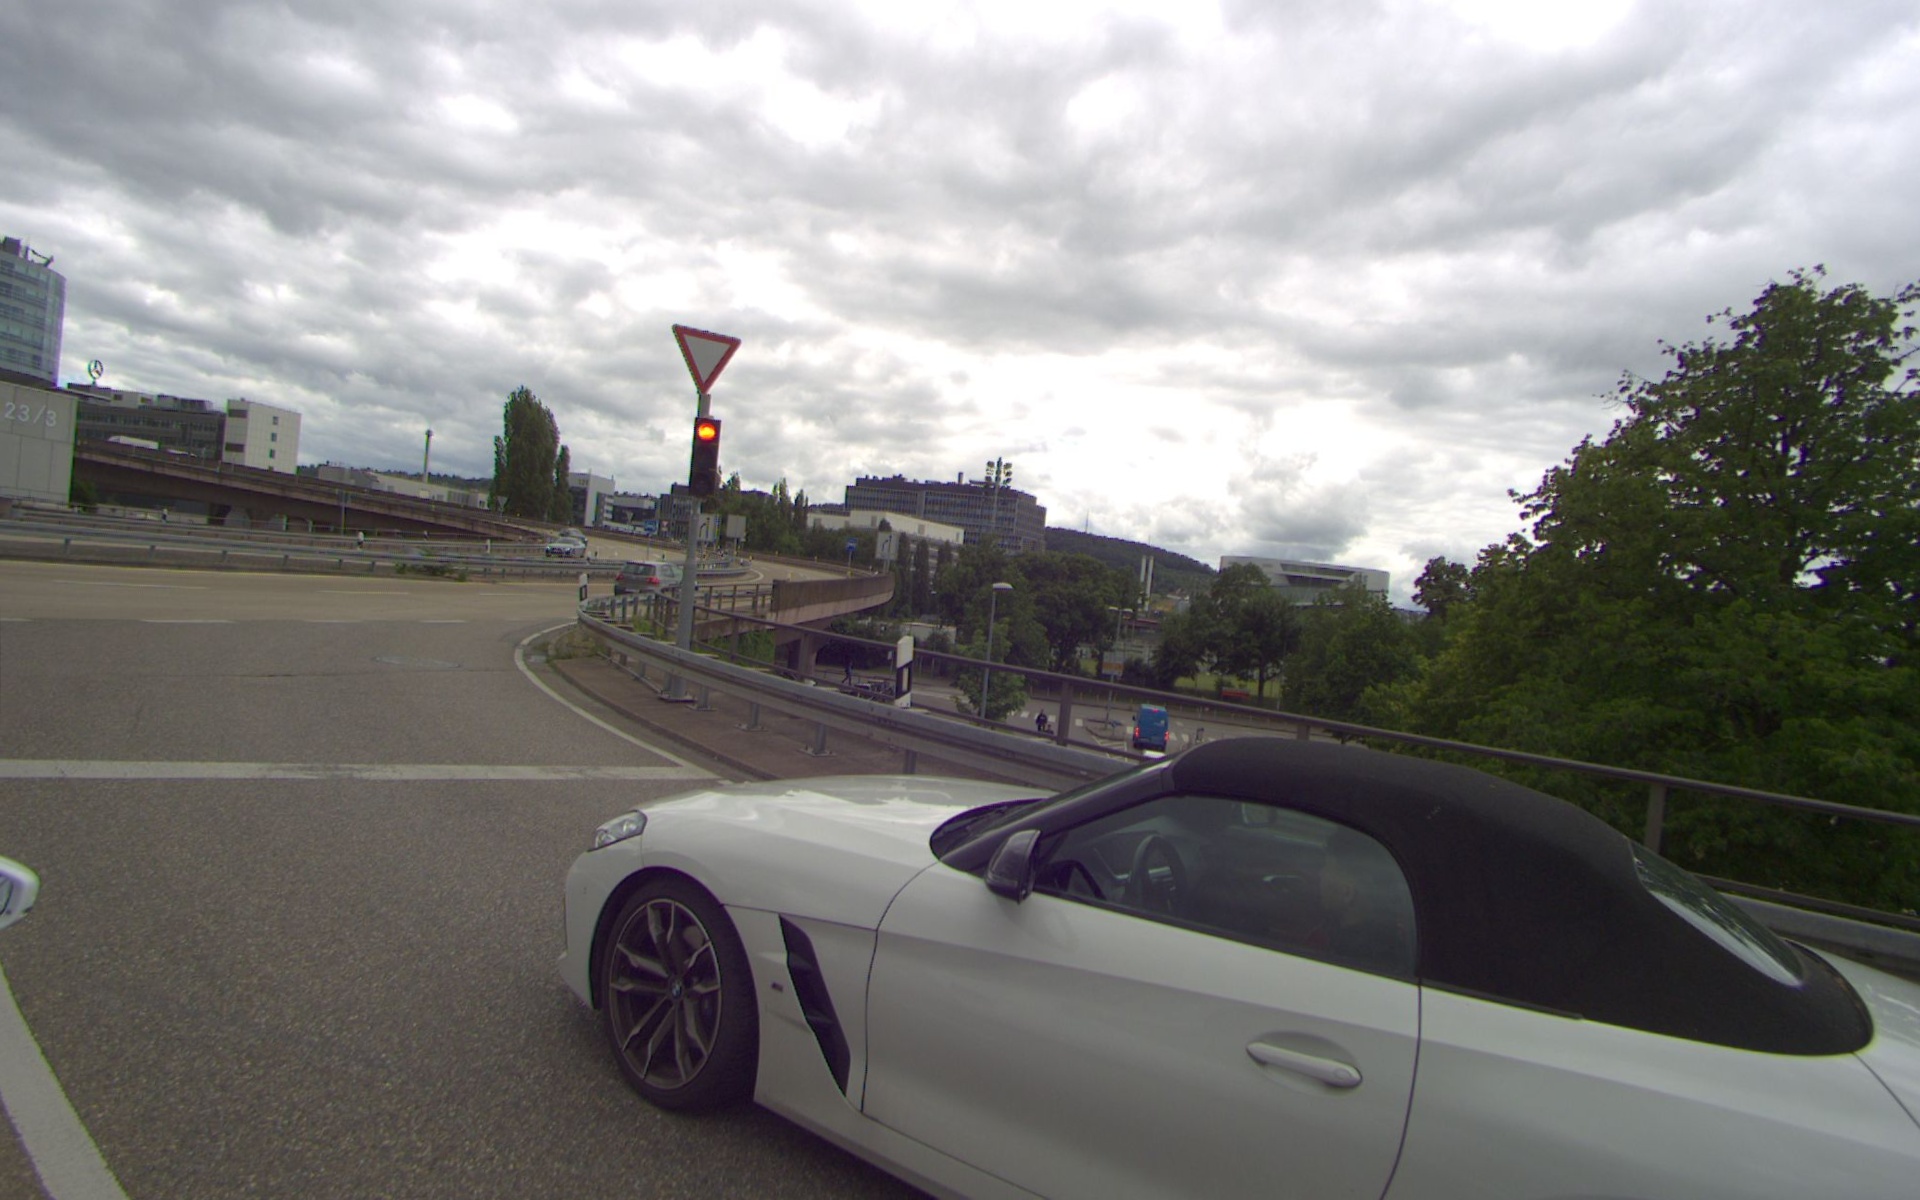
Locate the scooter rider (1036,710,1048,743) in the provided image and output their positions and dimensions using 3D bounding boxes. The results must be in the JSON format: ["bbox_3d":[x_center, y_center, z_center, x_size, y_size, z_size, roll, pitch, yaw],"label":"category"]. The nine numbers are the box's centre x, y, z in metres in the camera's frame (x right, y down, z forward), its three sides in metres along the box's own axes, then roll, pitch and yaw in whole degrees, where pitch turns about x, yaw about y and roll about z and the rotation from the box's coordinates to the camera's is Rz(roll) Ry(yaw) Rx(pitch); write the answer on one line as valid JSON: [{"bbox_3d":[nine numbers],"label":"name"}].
[{"bbox_3d":[4.737,7.295,58.028,0.482,1.761,0.514,8,2,5],"label":"scooter rider"}]

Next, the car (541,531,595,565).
[{"bbox_3d":[-28.701,-3.800,73.791,1.881,1.679,4.753,9,-4,0],"label":"car"}]

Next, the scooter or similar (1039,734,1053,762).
[{"bbox_3d":[4.424,7.605,51.744,0.481,1.199,1.073,8,1,10],"label":"scooter or similar"}]

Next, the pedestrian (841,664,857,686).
[{"bbox_3d":[-8.535,5.783,77.325,0.898,1.514,0.750,9,-3,6],"label":"pedestrian"}]

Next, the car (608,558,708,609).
[{"bbox_3d":[-10.656,-0.538,35.802,1.697,1.480,4.245,7,0,7],"label":"car"}]

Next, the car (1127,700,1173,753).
[{"bbox_3d":[11.883,7.903,63.190,1.978,2.617,5.398,10,-2,7],"label":"car"}]

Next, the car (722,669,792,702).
[{"bbox_3d":[-12.450,5.265,61.901,3.792,1.371,1.826,8,1,1],"label":"car"}]

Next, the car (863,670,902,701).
[{"bbox_3d":[-5.258,5.828,68.640,1.792,1.553,4.000,8,0,6],"label":"car"}]

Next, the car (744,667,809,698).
[{"bbox_3d":[-12.064,5.431,66.361,3.792,1.371,1.826,8,1,1],"label":"car"}]

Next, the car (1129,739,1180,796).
[{"bbox_3d":[9.261,7.872,47.710,1.978,1.883,4.868,10,-2,13],"label":"car"}]

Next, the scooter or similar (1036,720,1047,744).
[{"bbox_3d":[4.712,7.594,58.022,0.482,1.199,1.073,8,1,5],"label":"scooter or similar"}]

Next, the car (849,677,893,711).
[{"bbox_3d":[-5.521,5.832,63.018,1.792,1.553,4.195,8,0,6],"label":"car"}]

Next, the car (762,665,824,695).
[{"bbox_3d":[-11.456,5.486,69.140,3.792,1.371,1.826,8,1,1],"label":"car"}]

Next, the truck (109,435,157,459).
[{"bbox_3d":[-116.571,-21.525,141.838,1.968,2.194,4.600,7,-4,34],"label":"truck"}]

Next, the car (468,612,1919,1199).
[{"bbox_3d":[0.627,0.992,3.018,4.194,1.306,1.808,7,-2,34],"label":"car"}]

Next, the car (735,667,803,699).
[{"bbox_3d":[-12.172,5.312,64.241,3.792,1.371,1.826,8,1,1],"label":"car"}]

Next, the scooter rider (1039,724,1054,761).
[{"bbox_3d":[4.470,7.333,51.715,0.481,1.776,0.548,8,2,10],"label":"scooter rider"}]

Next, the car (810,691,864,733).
[{"bbox_3d":[-6.302,5.731,51.911,1.792,1.553,4.000,8,0,6],"label":"car"}]

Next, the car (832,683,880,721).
[{"bbox_3d":[-5.930,5.790,57.674,1.792,1.553,4.000,8,0,6],"label":"car"}]
